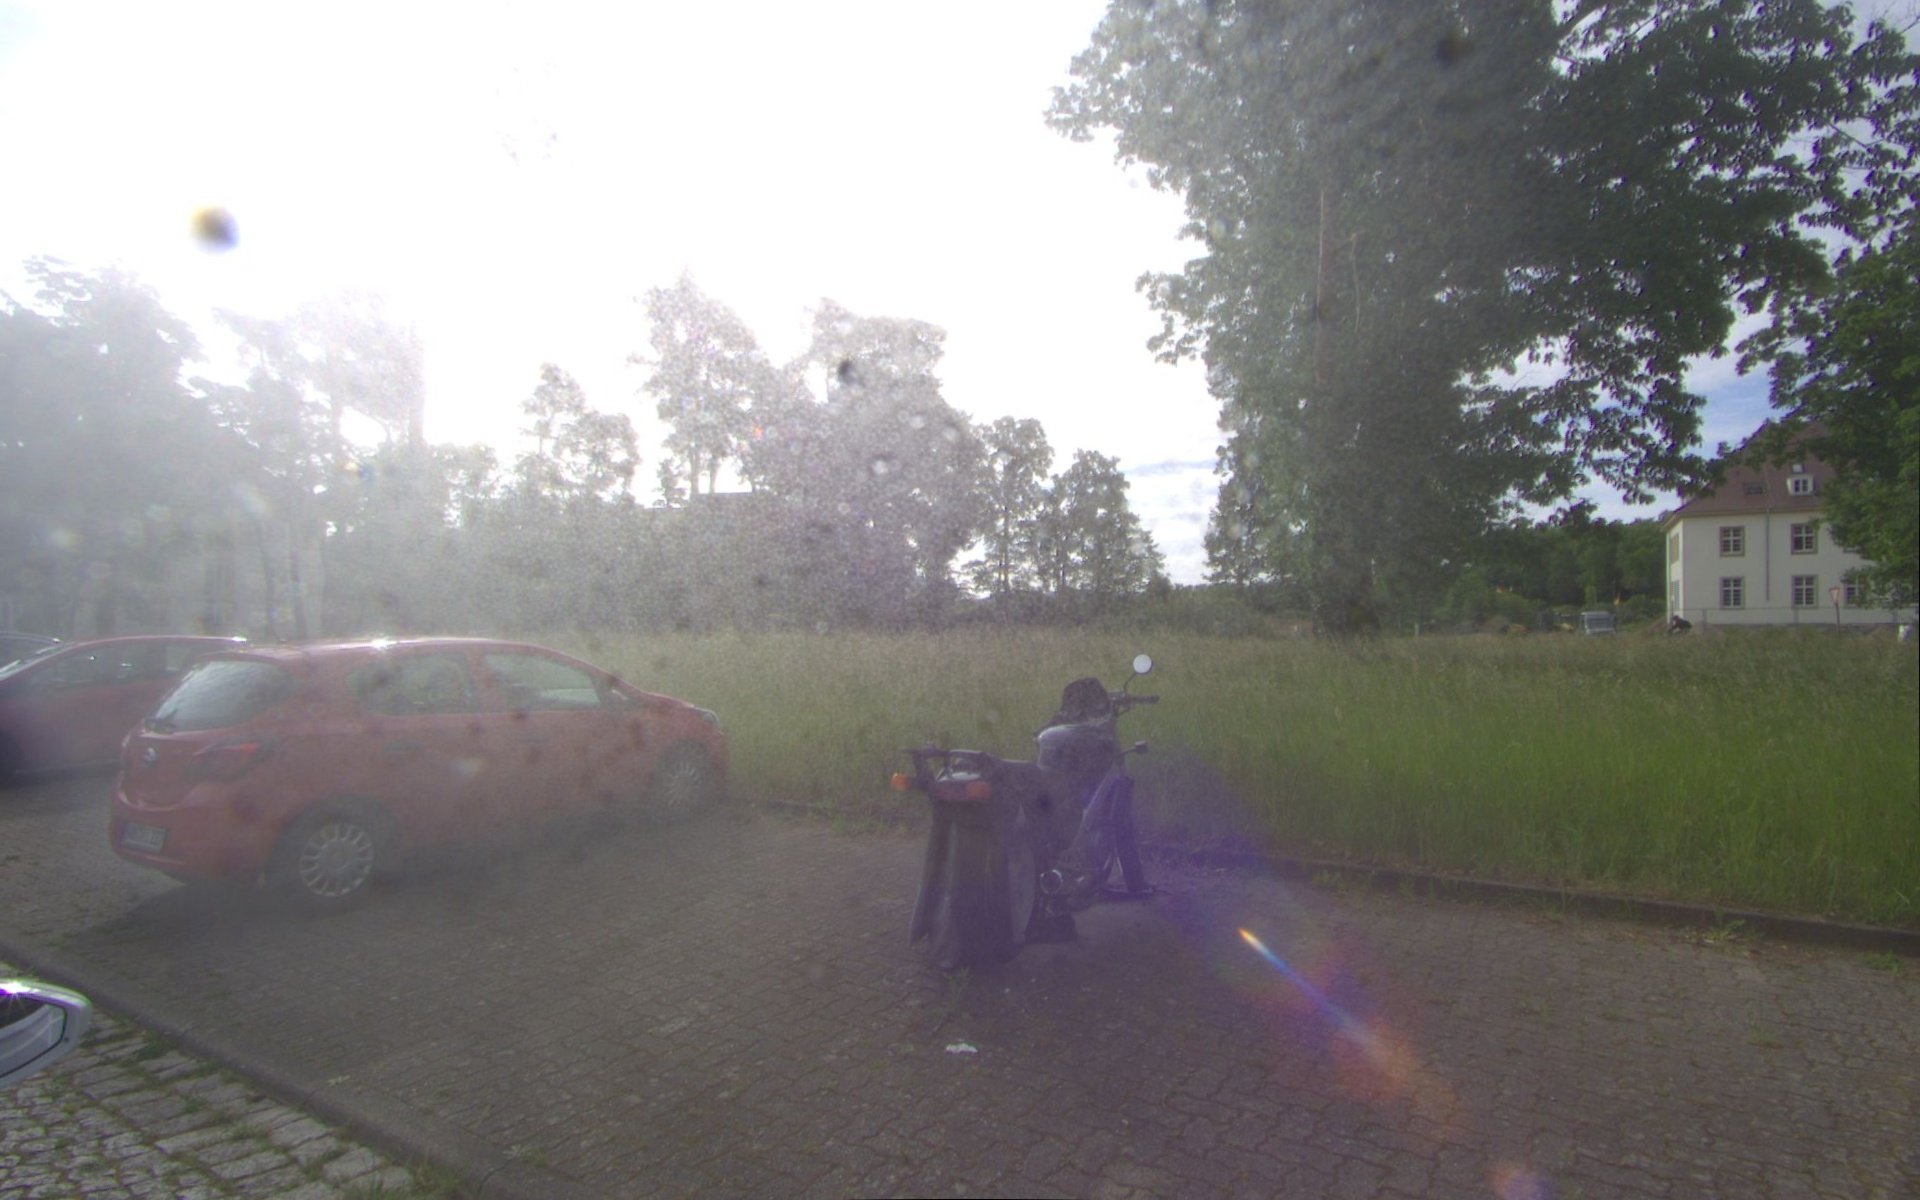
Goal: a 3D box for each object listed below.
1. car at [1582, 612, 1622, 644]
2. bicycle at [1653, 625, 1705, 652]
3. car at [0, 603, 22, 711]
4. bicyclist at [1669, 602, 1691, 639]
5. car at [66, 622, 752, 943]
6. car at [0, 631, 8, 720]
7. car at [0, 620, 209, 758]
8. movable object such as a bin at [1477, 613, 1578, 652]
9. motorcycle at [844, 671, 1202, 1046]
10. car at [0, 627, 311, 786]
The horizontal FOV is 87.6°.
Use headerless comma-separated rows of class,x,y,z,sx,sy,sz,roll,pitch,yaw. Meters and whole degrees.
car,49.773,2.211,77.712,1.886,2.377,4.585,-1,-2,24
bicycle,33.668,1.821,46.927,1.904,1.244,0.722,-1,-2,31
car,-19.469,1.077,17.054,1.903,1.980,4.747,-1,0,30
bicyclist,33.758,0.972,46.943,0.761,1.717,0.724,-1,-1,30
car,-3.436,0.949,6.978,1.754,1.479,3.818,-1,0,31
car,-17.444,1.277,15.468,1.591,1.468,3.667,-1,0,30
car,-11.989,1.090,12.338,1.725,1.573,4.023,-1,0,30
movable object such as a bin,40.420,2.328,71.436,2.151,2.688,5.932,1,-2,-38
motorcycle,0.449,1.016,4.806,0.783,1.201,2.324,-1,-1,29
car,-9.675,1.101,11.095,1.726,1.479,3.784,-1,0,32
